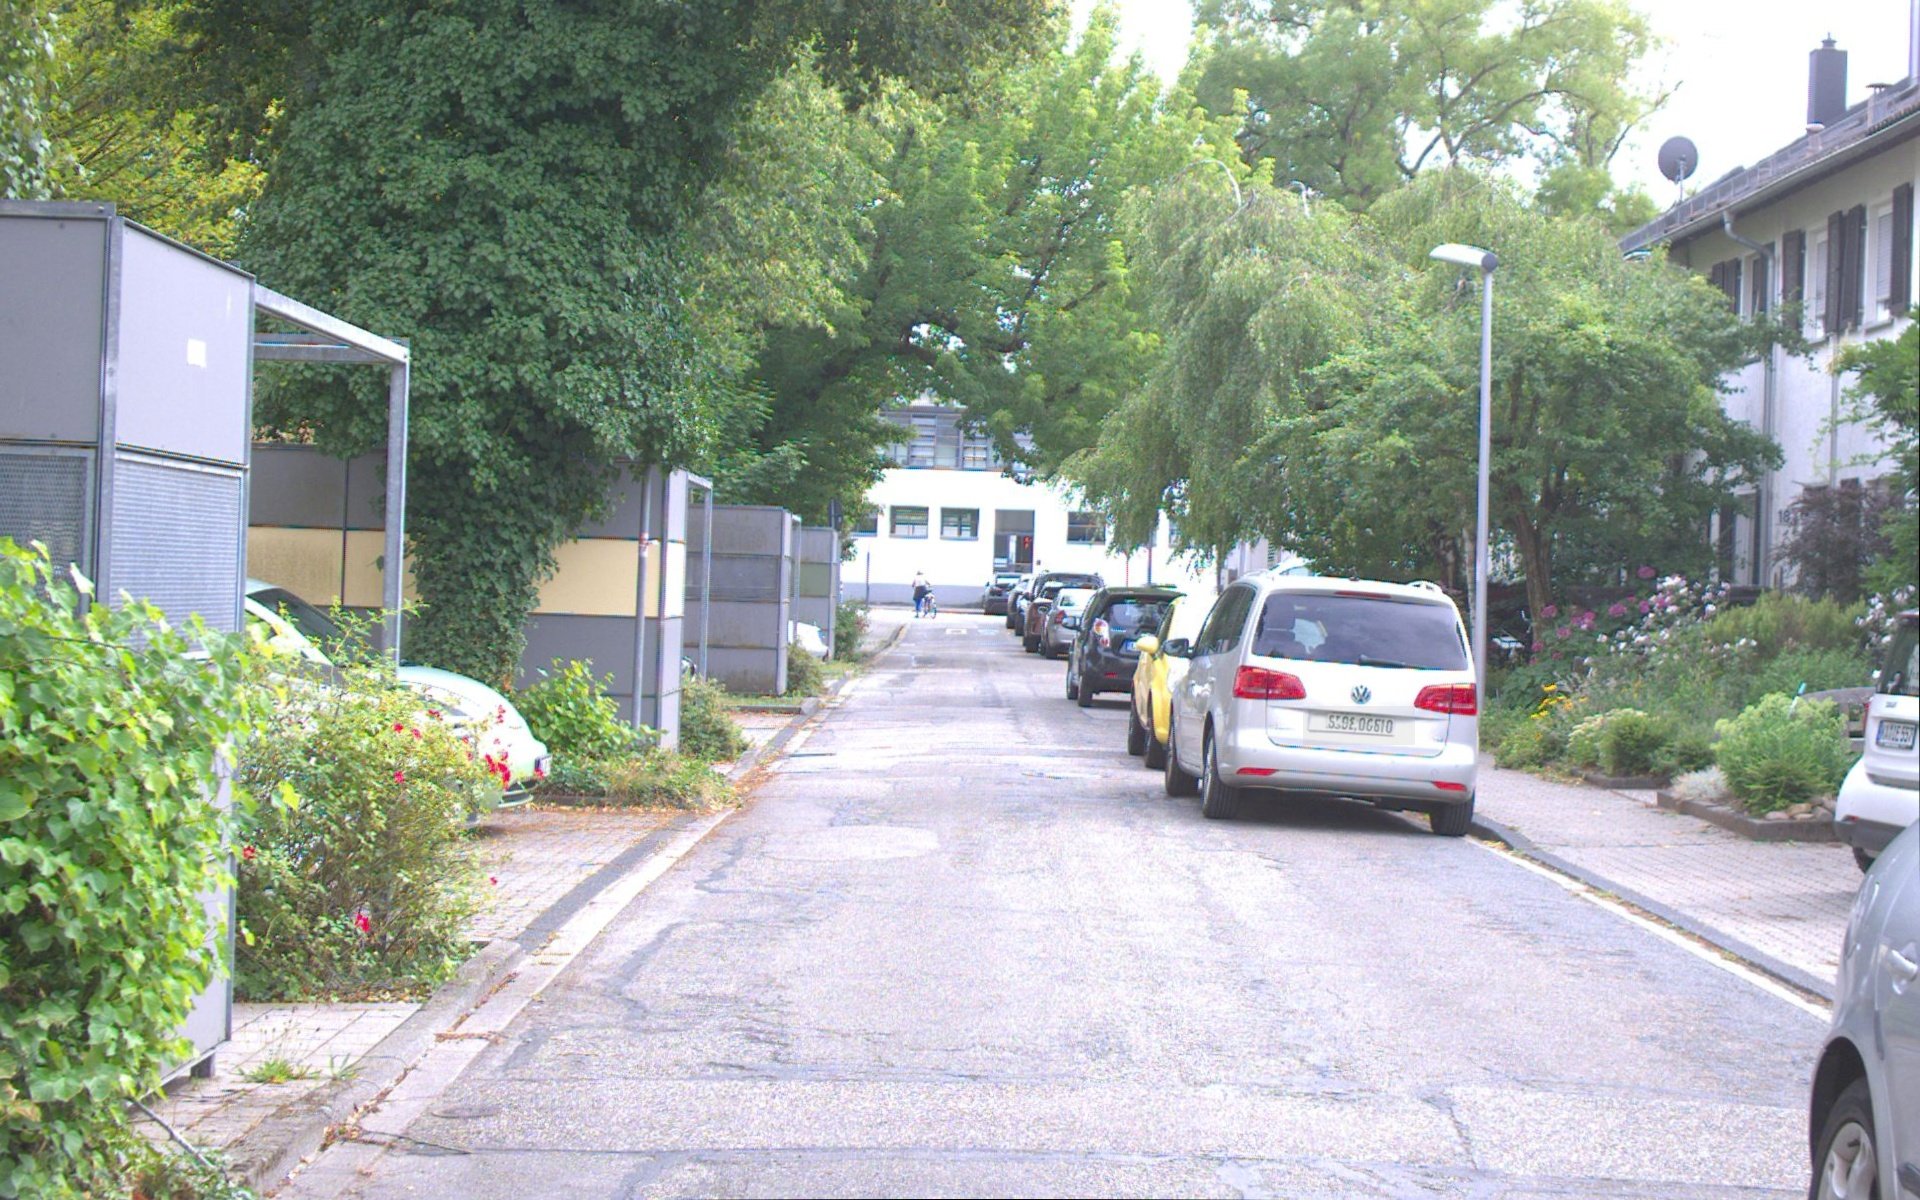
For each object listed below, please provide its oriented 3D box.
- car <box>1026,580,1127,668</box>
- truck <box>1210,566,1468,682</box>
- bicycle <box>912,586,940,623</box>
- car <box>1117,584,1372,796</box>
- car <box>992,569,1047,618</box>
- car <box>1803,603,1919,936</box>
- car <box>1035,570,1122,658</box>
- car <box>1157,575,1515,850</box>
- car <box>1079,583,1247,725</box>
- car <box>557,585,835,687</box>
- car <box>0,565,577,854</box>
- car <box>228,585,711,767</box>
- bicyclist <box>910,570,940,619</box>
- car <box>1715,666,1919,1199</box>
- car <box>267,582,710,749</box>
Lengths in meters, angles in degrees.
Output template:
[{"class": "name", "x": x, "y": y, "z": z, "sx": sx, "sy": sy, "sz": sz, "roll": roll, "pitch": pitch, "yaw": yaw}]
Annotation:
[{"class": "car", "x": 2.308, "y": 0.456, "z": 68.814, "sx": 1.825, "sy": 1.576, "sz": 4.000, "roll": 4, "pitch": 0, "yaw": 1}, {"class": "truck", "x": 6.790, "y": 0.425, "z": 61.895, "sx": 4.390, "sy": 2.007, "sz": 2.000, "roll": 1, "pitch": 0, "yaw": 0}, {"class": "bicycle", "x": -1.073, "y": 0.138, "z": 108.964, "sx": 0.689, "sy": 1.127, "sz": 2.579, "roll": 4, "pitch": 0, "yaw": 2}, {"class": "car", "x": 2.405, "y": 0.723, "z": 29.967, "sx": 1.825, "sy": 1.576, "sz": 4.000, "roll": 4, "pitch": 0, "yaw": 1}, {"class": "car", "x": 2.092, "y": -0.234, "z": 121.358, "sx": 1.825, "sy": 1.576, "sz": 4.000, "roll": 4, "pitch": 0, "yaw": 1}, {"class": "car", "x": 5.869, "y": 0.811, "z": 17.233, "sx": 2.816, "sy": 1.564, "sz": 1.741, "roll": 0, "pitch": 0, "yaw": -2}, {"class": "car", "x": 2.751, "y": 0.308, "z": 80.495, "sx": 1.825, "sy": 1.877, "sz": 4.000, "roll": 4, "pitch": 0, "yaw": 1}, {"class": "car", "x": 2.469, "y": 0.691, "z": 23.516, "sx": 1.825, "sy": 1.576, "sz": 4.000, "roll": 4, "pitch": 0, "yaw": -1}, {"class": "car", "x": 2.528, "y": 0.646, "z": 43.679, "sx": 1.825, "sy": 1.576, "sz": 4.193, "roll": 4, "pitch": 0, "yaw": 1}, {"class": "car", "x": -3.928, "y": 0.529, "z": 51.619, "sx": 4.031, "sy": 1.389, "sz": 1.738, "roll": 1, "pitch": 0, "yaw": 0}, {"class": "car", "x": -4.530, "y": 0.578, "z": 19.747, "sx": 4.412, "sy": 1.497, "sz": 1.841, "roll": 2, "pitch": 0, "yaw": 0}, {"class": "car", "x": -4.265, "y": 0.645, "z": 30.319, "sx": 3.987, "sy": 1.459, "sz": 1.738, "roll": 1, "pitch": 0, "yaw": 0}, {"class": "bicyclist", "x": -1.097, "y": -0.173, "z": 109.016, "sx": 0.798, "sy": 1.506, "sz": 0.934, "roll": 4, "pitch": 0, "yaw": 2}, {"class": "car", "x": 2.476, "y": 0.904, "z": 4.930, "sx": 1.825, "sy": 1.365, "sz": 4.331, "roll": 4, "pitch": 0, "yaw": 1}, {"class": "car", "x": -4.475, "y": 0.607, "z": 33.030, "sx": 3.987, "sy": 1.459, "sz": 1.738, "roll": 1, "pitch": 0, "yaw": 0}]
